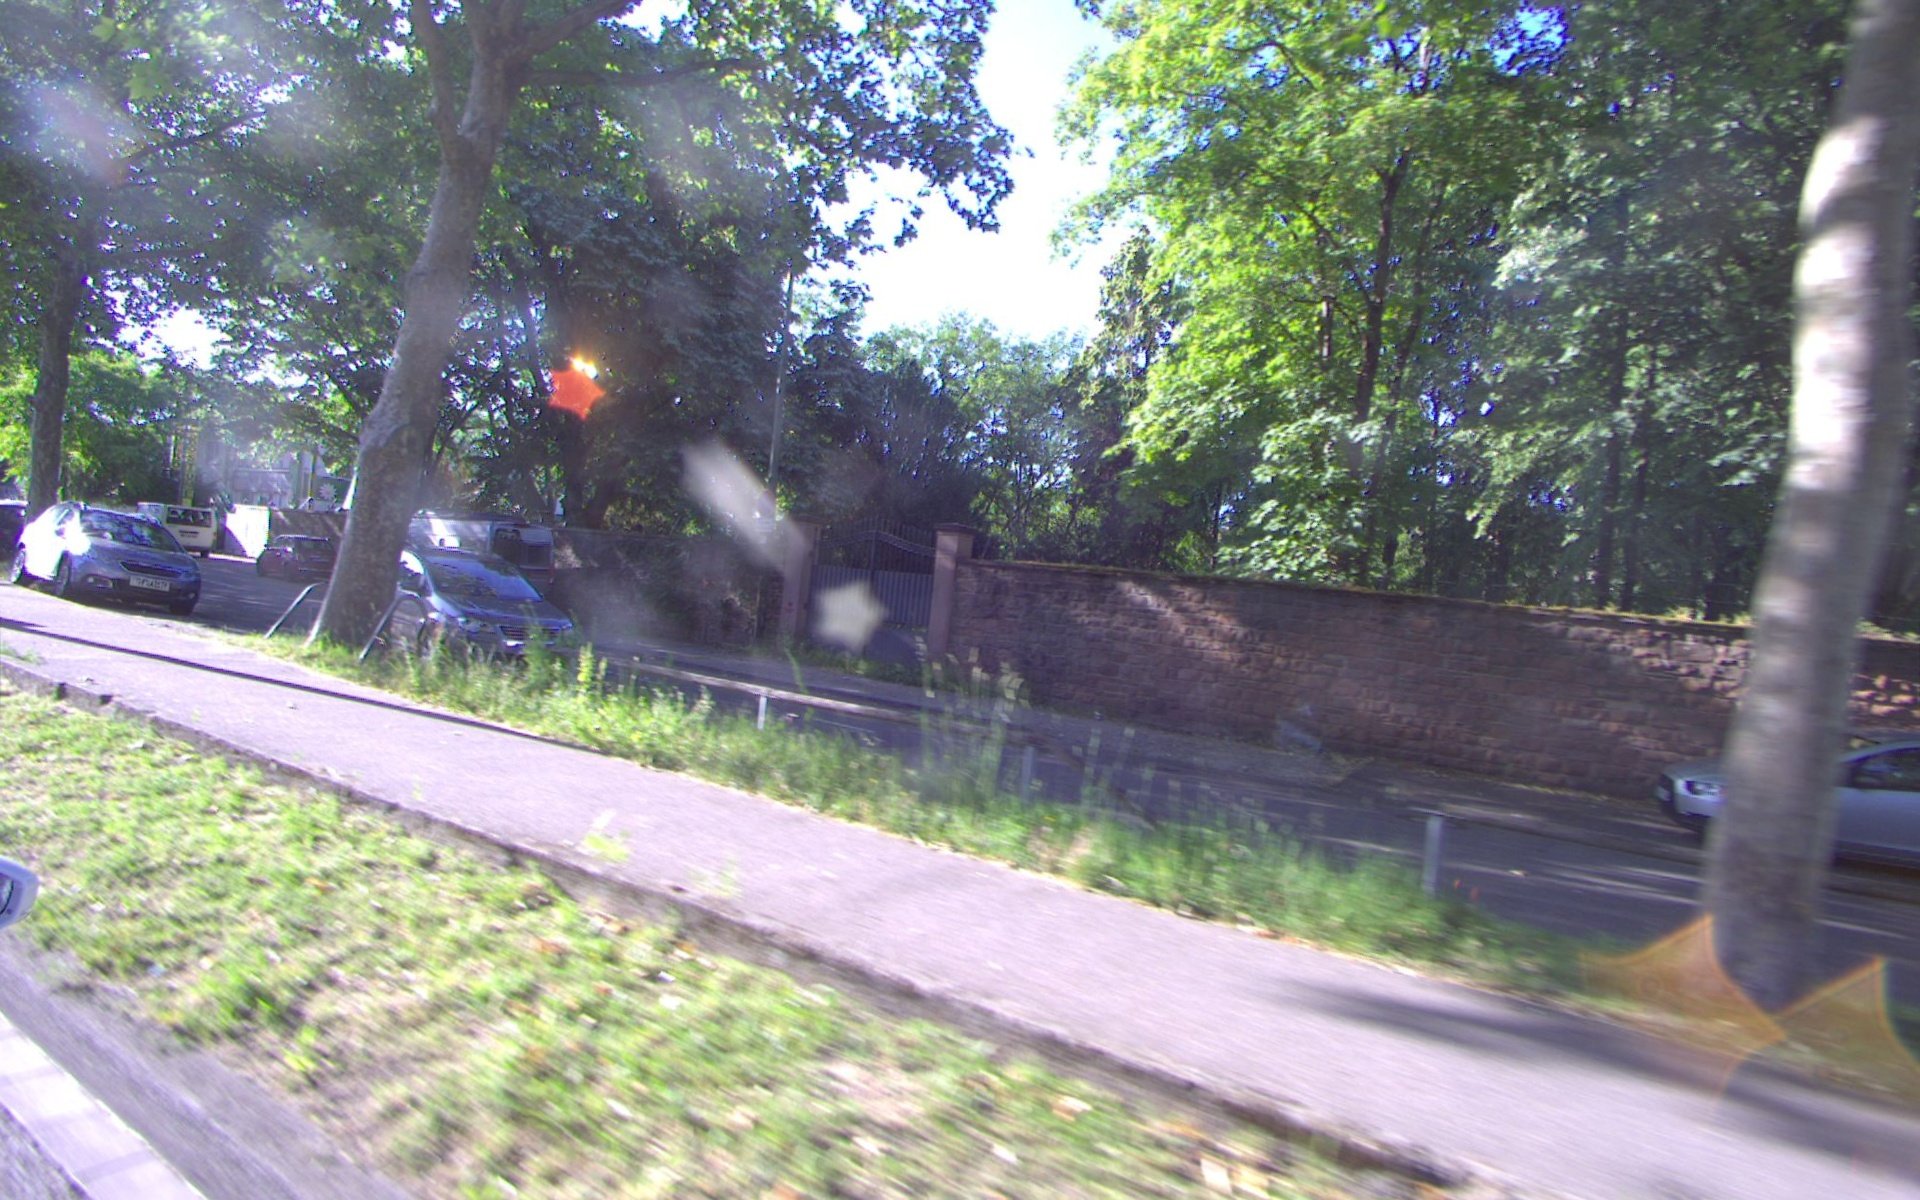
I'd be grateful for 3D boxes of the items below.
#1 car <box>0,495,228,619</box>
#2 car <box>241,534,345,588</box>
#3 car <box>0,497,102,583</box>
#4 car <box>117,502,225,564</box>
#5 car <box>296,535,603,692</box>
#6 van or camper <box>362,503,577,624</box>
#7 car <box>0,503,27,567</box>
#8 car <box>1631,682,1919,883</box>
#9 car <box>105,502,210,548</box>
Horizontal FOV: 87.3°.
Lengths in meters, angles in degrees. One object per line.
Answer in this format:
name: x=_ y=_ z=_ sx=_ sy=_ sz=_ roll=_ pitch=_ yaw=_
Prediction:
car: x=-14.150 y=-0.738 z=16.754 sx=3.957 sy=1.577 sz=1.796 roll=5 pitch=-4 yaw=35
car: x=-22.117 y=-1.300 z=33.329 sx=3.701 sy=1.491 sz=1.688 roll=6 pitch=2 yaw=37
car: x=-19.532 y=-1.309 z=20.658 sx=3.822 sy=1.454 sz=1.796 roll=5 pitch=-2 yaw=33
car: x=-32.169 y=-2.751 z=40.981 sx=4.867 sy=2.038 sz=2.087 roll=6 pitch=-1 yaw=36
car: x=-7.157 y=0.134 z=13.920 sx=4.556 sy=1.653 sz=1.794 roll=5 pitch=-2 yaw=36
van or camper: x=-13.713 y=-1.061 z=27.915 sx=6.463 sy=2.720 sz=2.554 roll=6 pitch=2 yaw=36
car: x=-24.324 y=-1.774 z=23.991 sx=4.604 sy=1.397 sz=1.997 roll=6 pitch=-3 yaw=35
car: x=10.061 y=2.053 z=11.113 sx=3.926 sy=1.640 sz=1.842 roll=6 pitch=3 yaw=21
car: x=-45.135 y=-4.212 z=56.651 sx=1.819 sy=1.872 sz=4.091 roll=6 pitch=-2 yaw=32
